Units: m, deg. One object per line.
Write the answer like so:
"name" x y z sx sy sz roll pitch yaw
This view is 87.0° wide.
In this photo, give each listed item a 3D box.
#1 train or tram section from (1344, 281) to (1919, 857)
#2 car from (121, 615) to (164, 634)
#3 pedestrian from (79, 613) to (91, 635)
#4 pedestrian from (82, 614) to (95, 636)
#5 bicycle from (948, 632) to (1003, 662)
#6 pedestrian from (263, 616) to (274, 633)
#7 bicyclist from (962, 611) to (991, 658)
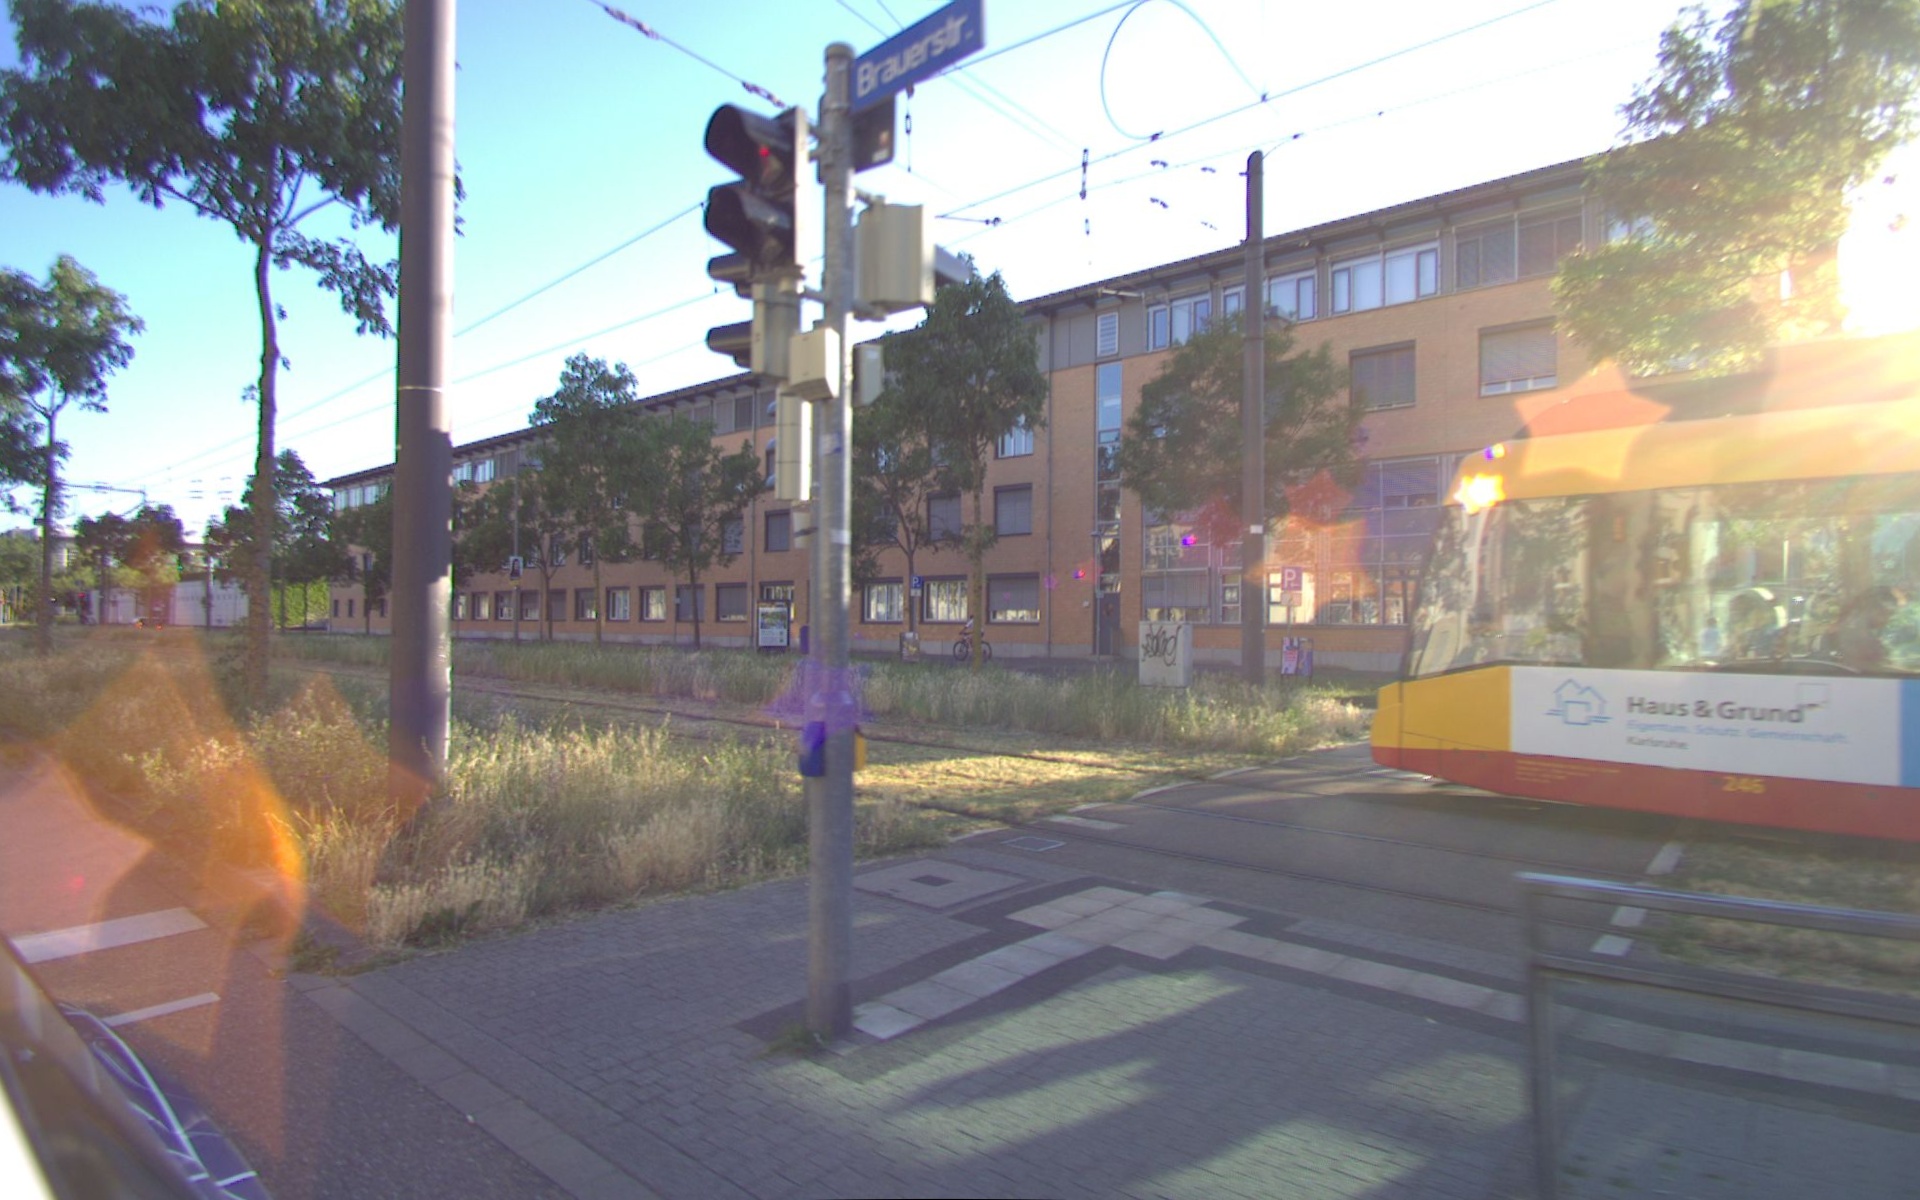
"train or tram section" 9.910 -0.203 4.674 15.021 3.456 3.395 -1 -1 41
"car" -60.661 1.800 75.042 3.997 1.386 1.772 -1 -1 41
"pedestrian" -66.778 1.833 77.240 0.544 1.697 0.512 -1 -1 11
"pedestrian" -66.018 1.899 76.642 0.544 1.697 0.512 0 -1 11
"bicycle" 0.564 1.714 37.394 2.093 1.060 0.702 -1 -1 41
"pedestrian" -57.842 2.048 84.620 0.574 1.378 0.581 -1 -1 35
"bicyclist" 0.603 1.261 37.357 0.825 1.687 0.688 -1 -1 41
